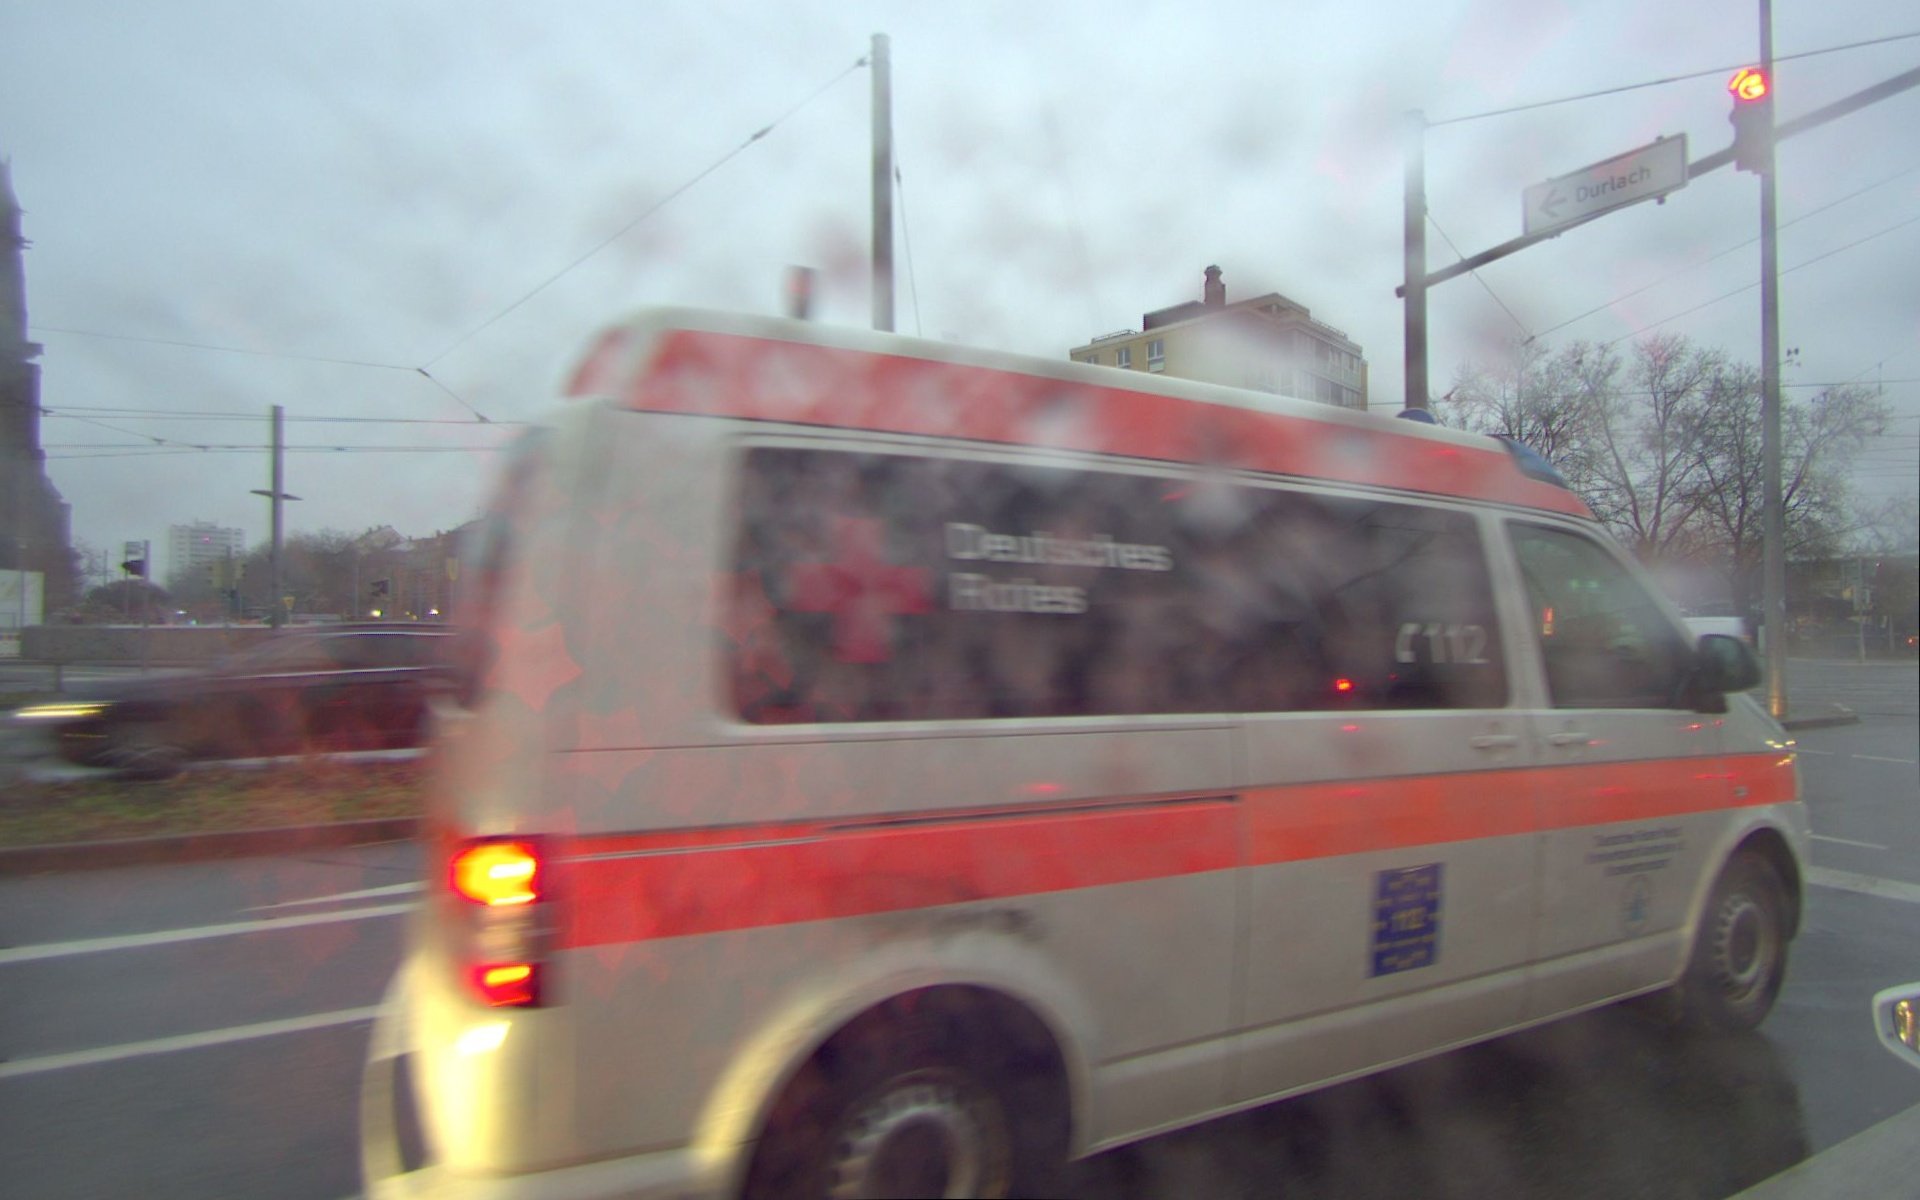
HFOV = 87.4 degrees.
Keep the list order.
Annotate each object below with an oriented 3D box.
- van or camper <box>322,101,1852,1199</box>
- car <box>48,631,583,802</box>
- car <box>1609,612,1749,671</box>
[{"bbox_3d":[0.729,0.394,3.614,4.926,2.137,2.192,1,0,-29],"label":"van or camper"},{"bbox_3d":[-6.450,1.065,10.557,4.404,1.391,1.662,1,1,-34],"label":"car"},{"bbox_3d":[28.689,1.641,40.164,4.353,2.040,1.902,2,-3,42],"label":"car"}]
